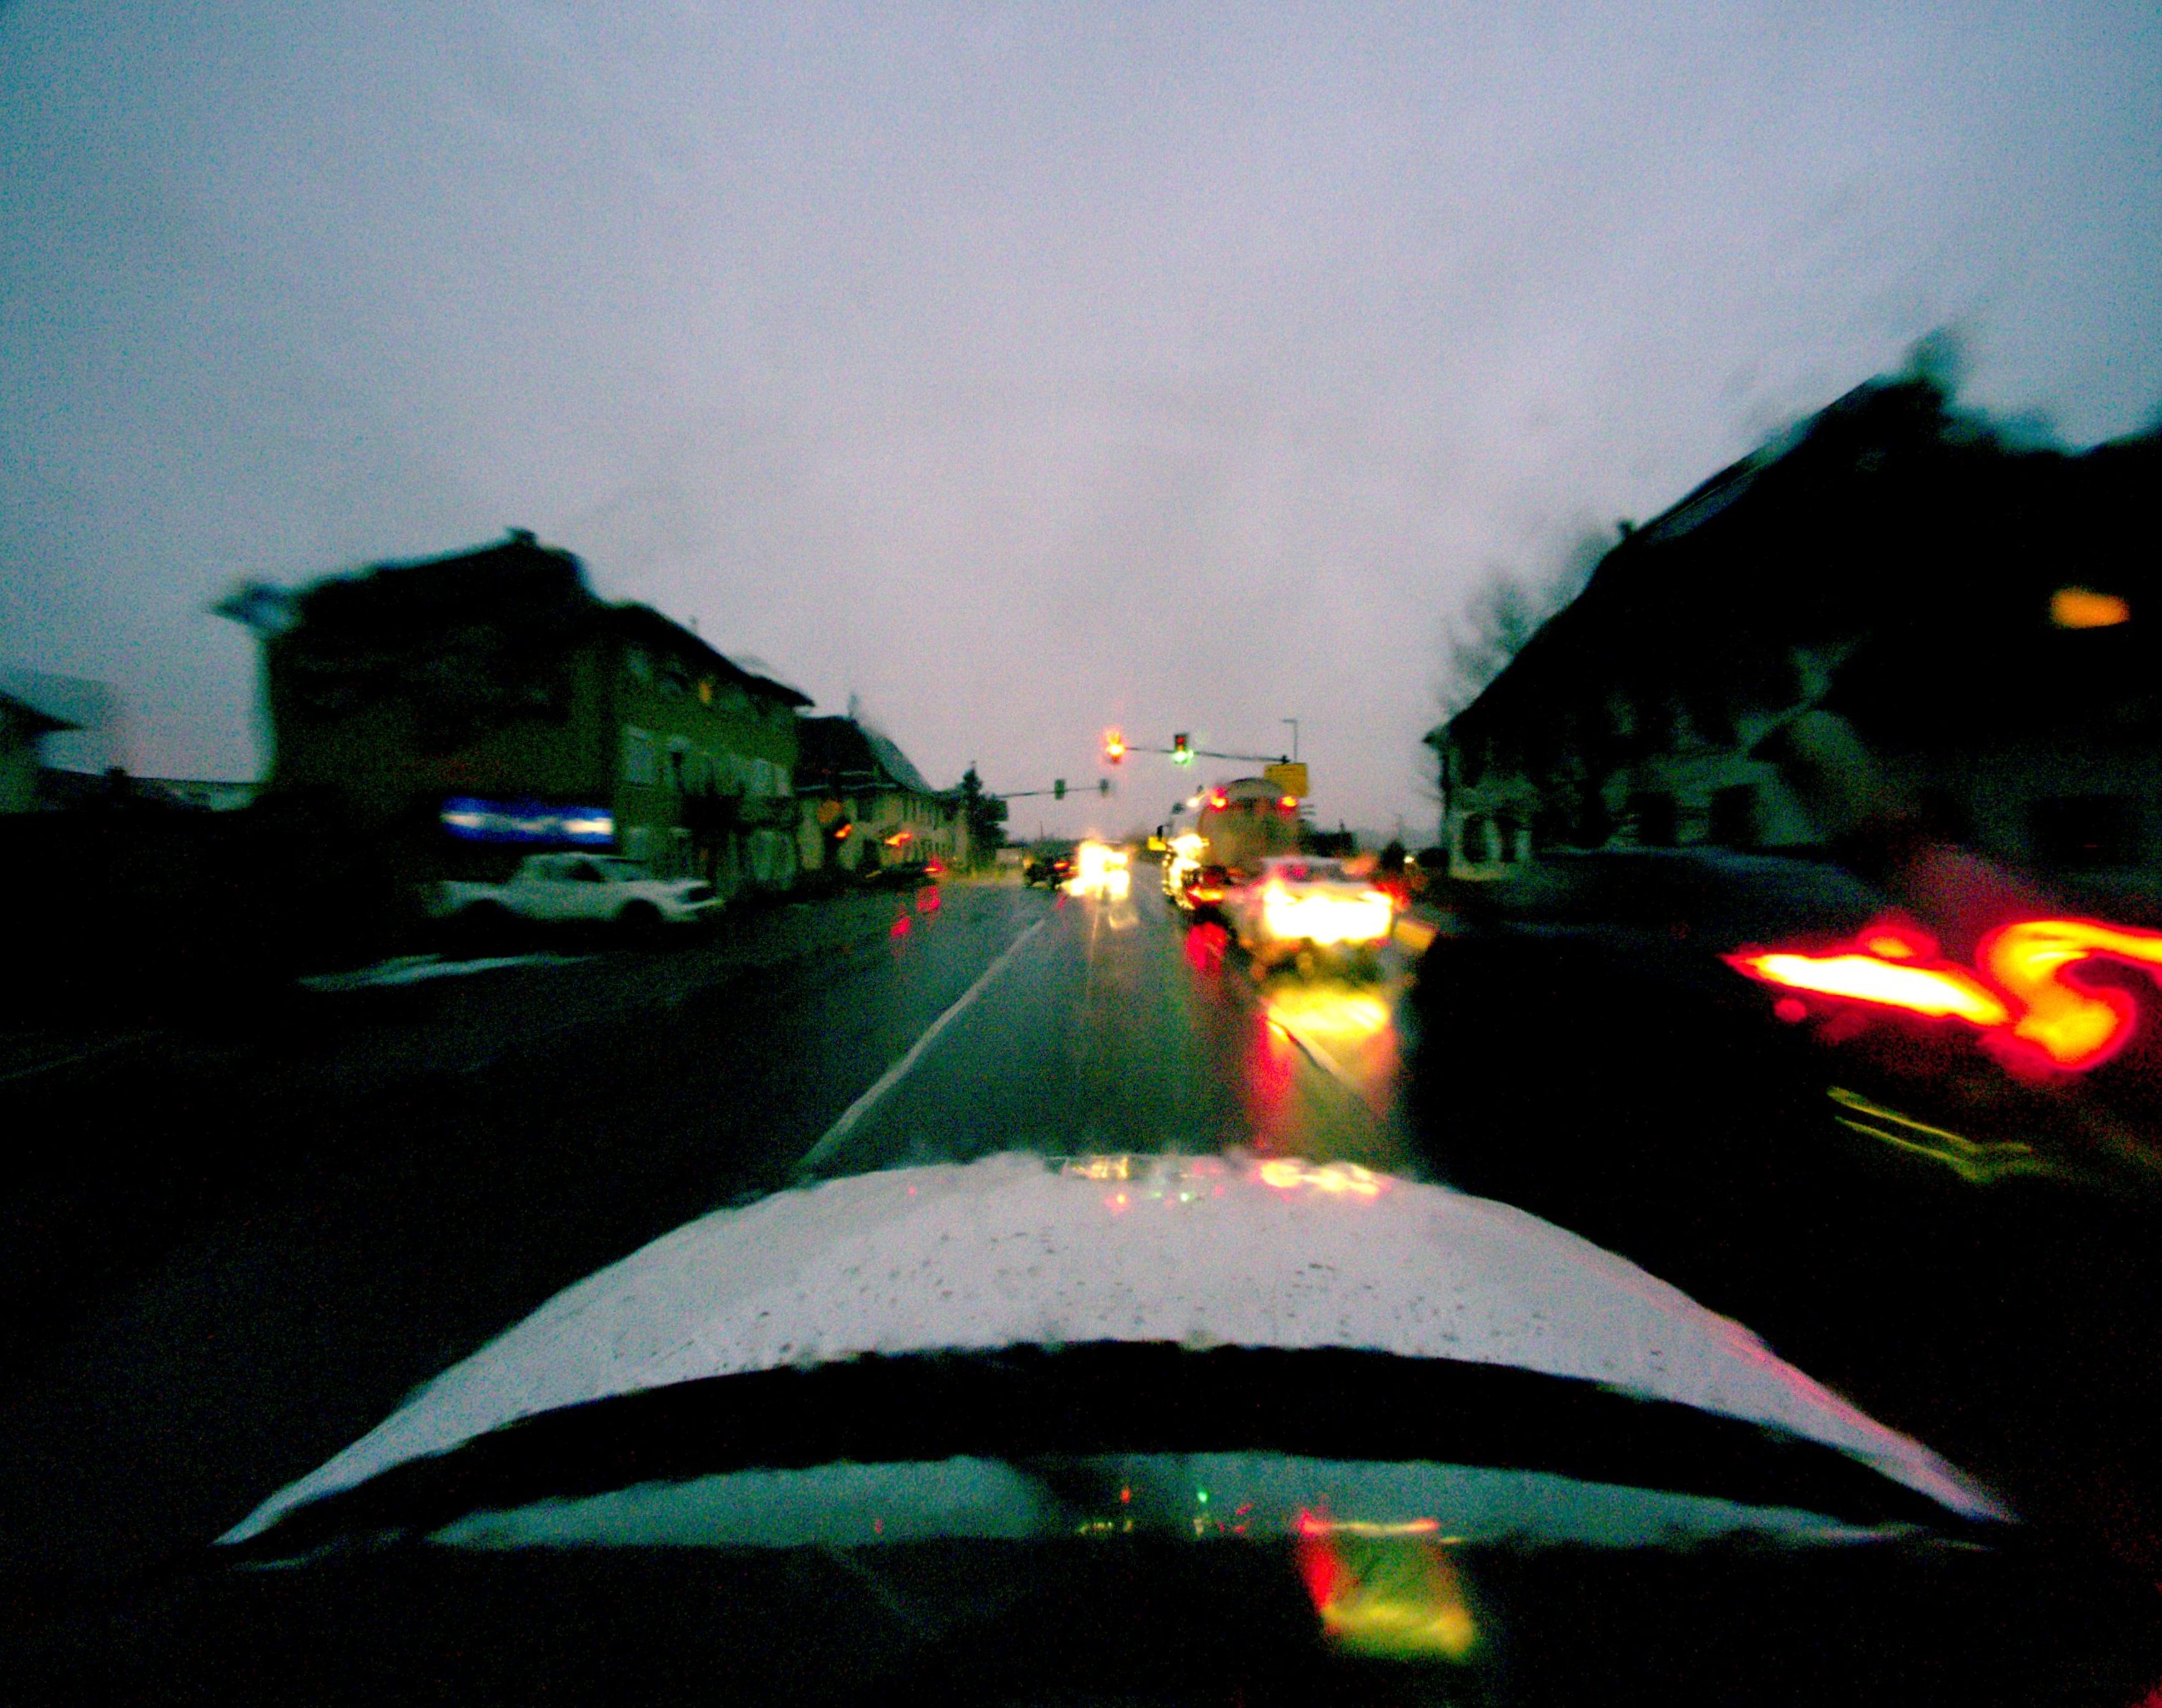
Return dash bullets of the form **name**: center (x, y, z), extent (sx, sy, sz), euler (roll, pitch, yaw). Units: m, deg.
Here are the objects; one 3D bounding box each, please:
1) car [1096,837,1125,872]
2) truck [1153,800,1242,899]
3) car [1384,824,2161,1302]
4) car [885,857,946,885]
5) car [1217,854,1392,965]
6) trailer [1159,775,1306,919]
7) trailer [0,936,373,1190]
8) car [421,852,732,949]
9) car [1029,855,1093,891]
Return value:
- **car**: center (2.551, 0.050, 72.752), extent (2.393, 2.892, 6.250), euler (1, 0, 0)
- **truck**: center (4.069, -0.144, 29.642), extent (2.453, 3.229, 6.274), euler (0, 0, 1)
- **car**: center (3.529, 0.684, 4.927), extent (1.829, 1.568, 4.505), euler (0, 0, 2)
- **car**: center (-9.441, 0.953, 46.524), extent (3.210, 1.508, 1.547), euler (0, 0, -4)
- **car**: center (3.278, 0.719, 12.789), extent (1.656, 1.439, 4.383), euler (0, 0, 2)
- **trailer**: center (3.957, -0.148, 23.872), extent (2.479, 3.240, 10.871), euler (0, 0, 1)
- **trailer**: center (-6.405, 1.195, 3.046), extent (1.986, 1.039, 6.107), euler (-2, 0, 2)
- **car**: center (-10.202, 0.904, 16.745), extent (5.167, 1.791, 2.002), euler (-1, 0, 3)
- **car**: center (-1.037, 0.873, 39.407), extent (2.051, 1.573, 4.679), euler (-2, 0, -15)
